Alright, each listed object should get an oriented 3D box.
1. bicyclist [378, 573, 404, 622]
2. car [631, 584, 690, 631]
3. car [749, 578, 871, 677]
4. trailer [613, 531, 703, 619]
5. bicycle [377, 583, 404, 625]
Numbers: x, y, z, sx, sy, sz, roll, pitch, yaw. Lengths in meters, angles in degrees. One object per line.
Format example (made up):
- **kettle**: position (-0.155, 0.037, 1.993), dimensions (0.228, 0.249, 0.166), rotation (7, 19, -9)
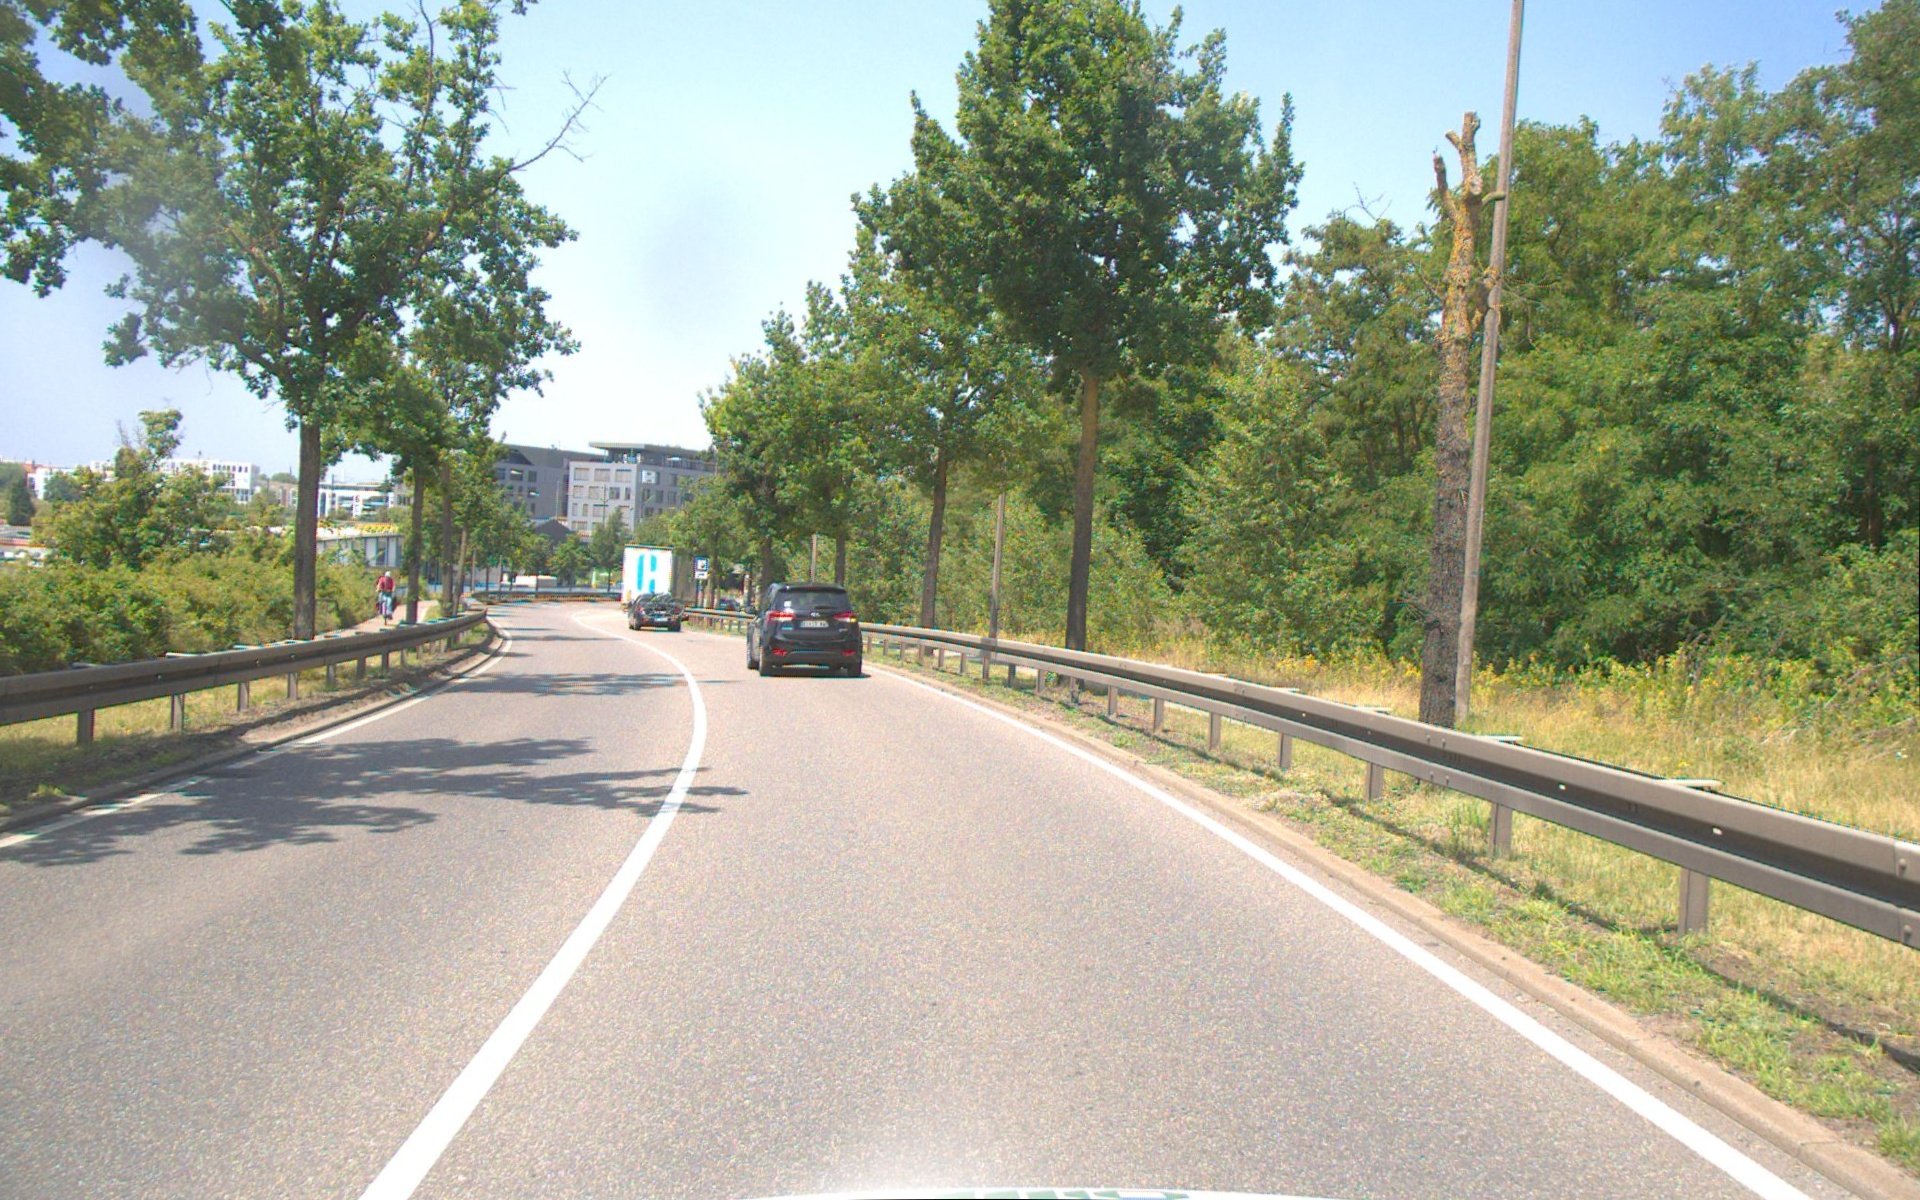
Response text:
- **bicyclist**: position (-18.141, -0.078, 52.736), dimensions (0.730, 1.515, 0.753), rotation (2, -1, -19)
- **car**: position (-11.444, 0.282, 63.110), dimensions (1.923, 1.662, 4.265), rotation (2, 0, -14)
- **car**: position (-2.744, 0.443, 29.518), dimensions (1.736, 1.627, 4.066), rotation (1, 0, -11)
- **trailer**: position (-17.031, -1.459, 94.324), dimensions (3.017, 4.444, 14.765), rotation (3, 1, -3)
- **bicycle**: position (-18.113, 0.127, 52.625), dimensions (0.723, 1.304, 2.035), rotation (2, 0, -18)
